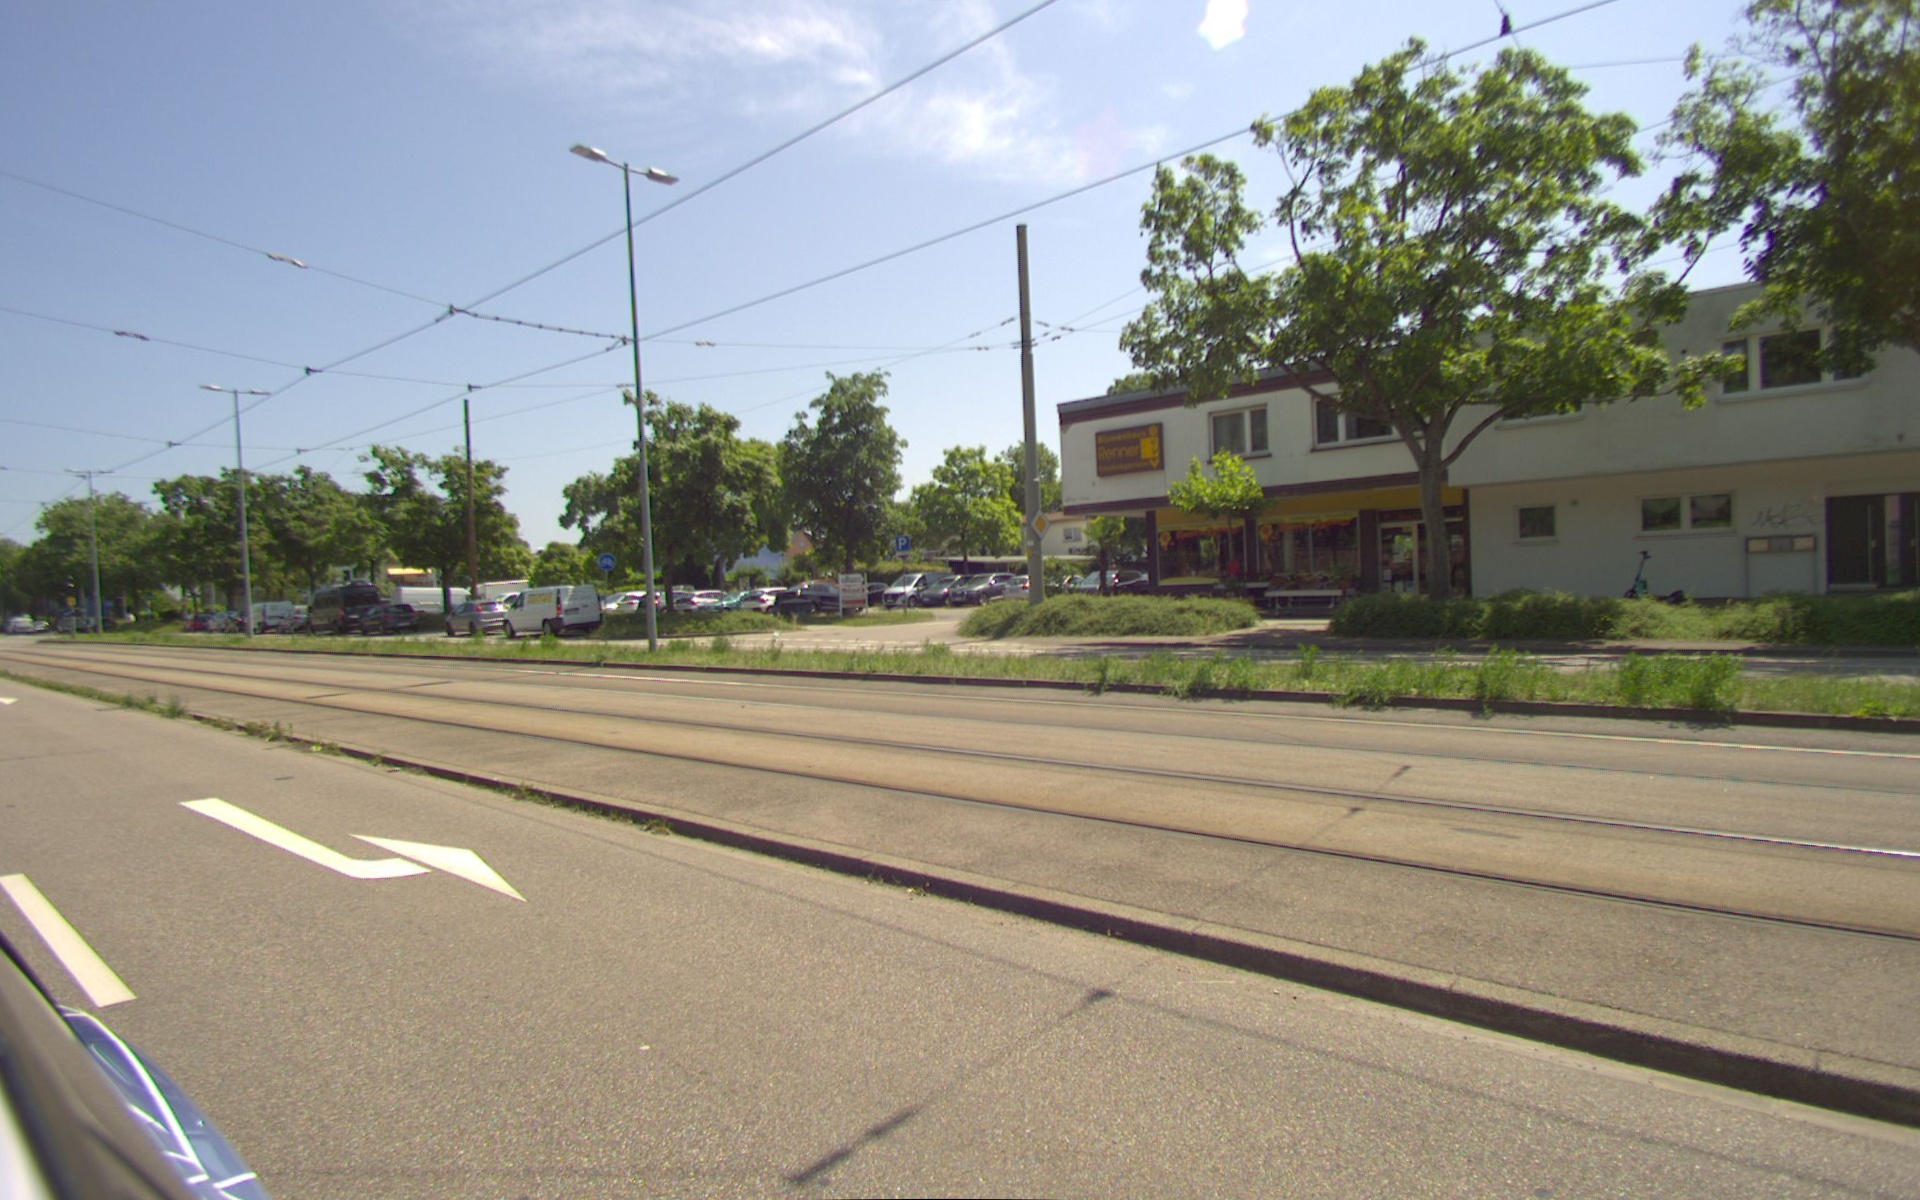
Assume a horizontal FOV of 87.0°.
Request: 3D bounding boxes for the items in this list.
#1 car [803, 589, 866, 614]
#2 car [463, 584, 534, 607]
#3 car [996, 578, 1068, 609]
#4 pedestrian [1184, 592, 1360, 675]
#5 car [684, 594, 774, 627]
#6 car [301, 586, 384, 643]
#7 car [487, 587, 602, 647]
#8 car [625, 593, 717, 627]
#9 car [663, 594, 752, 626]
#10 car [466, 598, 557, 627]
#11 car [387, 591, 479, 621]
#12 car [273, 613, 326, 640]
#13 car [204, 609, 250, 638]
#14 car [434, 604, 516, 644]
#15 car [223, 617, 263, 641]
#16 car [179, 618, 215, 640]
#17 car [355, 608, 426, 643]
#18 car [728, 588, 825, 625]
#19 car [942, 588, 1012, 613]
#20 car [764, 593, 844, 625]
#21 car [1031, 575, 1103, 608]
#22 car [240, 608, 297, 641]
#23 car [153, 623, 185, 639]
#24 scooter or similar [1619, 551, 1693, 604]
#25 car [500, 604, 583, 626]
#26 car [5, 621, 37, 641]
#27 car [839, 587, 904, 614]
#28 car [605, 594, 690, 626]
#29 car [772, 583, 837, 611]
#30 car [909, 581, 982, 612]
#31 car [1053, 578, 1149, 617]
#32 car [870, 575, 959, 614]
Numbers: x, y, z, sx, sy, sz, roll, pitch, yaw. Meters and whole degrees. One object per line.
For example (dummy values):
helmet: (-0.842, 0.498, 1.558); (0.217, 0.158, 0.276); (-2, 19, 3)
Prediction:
car: (-7.867, 0.074, 63.638); (1.712, 1.505, 3.953); (-1, 0, 35)
car: (-43.220, -0.415, 94.928); (2.145, 2.078, 5.674); (-1, 0, 38)
car: (3.826, -0.359, 53.143); (1.661, 1.531, 3.943); (-1, 0, 43)
pedestrian: (8.233, 0.830, 26.854); (3.997, 2.029, 1.973); (-1, 0, 41)
car: (-10.961, 0.480, 48.265); (1.908, 1.501, 3.995); (-1, 0, 34)
car: (-32.960, 0.749, 53.973); (5.666, 2.859, 2.214); (-1, 0, 42)
car: (-16.179, 0.653, 39.239); (5.342, 2.025, 1.856); (-1, 4, 42)
car: (-14.636, 0.488, 51.457); (2.018, 1.501, 4.117); (-2, 1, 34)
car: (-12.488, 0.469, 50.265); (1.855, 1.501, 4.099); (-1, 0, 34)
car: (-28.525, 0.781, 64.473); (1.998, 1.588, 4.866); (-2, 1, 38)
car: (-37.061, 0.425, 71.274); (2.029, 1.970, 5.363); (-1, 0, 43)
car: (-38.832, 1.527, 59.465); (3.608, 1.475, 1.744); (-1, 0, 43)
car: (-50.774, 1.633, 70.091); (4.495, 1.907, 1.614); (-1, 0, 41)
car: (-20.814, 1.015, 43.377); (4.124, 1.513, 1.633); (-1, 4, 42)
car: (-47.434, 1.882, 66.916); (3.261, 1.489, 1.410); (-1, 0, 41)
car: (-55.957, 2.109, 74.223); (3.423, 1.491, 1.561); (-1, 0, 43)
car: (-28.093, 1.225, 49.857); (3.751, 1.589, 1.950); (-1, 0, 42)
car: (-8.472, 0.287, 47.064); (1.983, 1.501, 4.120); (-2, 1, 40)
car: (0.932, 0.013, 54.132); (1.764, 1.294, 3.675); (-1, 0, 43)
car: (-6.905, 0.391, 44.933); (1.639, 1.241, 3.385); (-2, 1, 34)
car: (5.428, -0.441, 51.019); (1.520, 1.591, 3.943); (-1, 0, 43)
car: (-43.274, 1.483, 63.275); (4.816, 1.963, 1.899); (-1, 0, 43)
car: (-64.608, 2.529, 82.623); (3.423, 1.167, 1.561); (-1, 0, 43)
scooter or similar: (16.085, -0.503, 23.414); (0.448, 1.200, 1.349); (-1, 0, -29)
car: (-25.282, 0.901, 61.285); (2.030, 1.152, 4.210); (-2, 1, 37)
car: (-96.675, 3.154, 104.167); (4.208, 2.005, 1.799); (-1, 0, 38)
car: (-5.320, 0.006, 61.227); (1.683, 1.597, 3.948); (-1, 0, 39)
car: (-16.504, 0.519, 53.631); (1.827, 1.501, 4.030); (-2, 1, 34)
car: (-9.913, -0.208, 64.760); (1.689, 1.665, 4.081); (-2, 0, 35)
car: (-0.789, -0.226, 56.290); (1.804, 1.669, 3.943); (-1, 0, 43)
car: (5.455, -0.120, 38.877); (1.682, 1.306, 3.944); (-3, 1, 43)
car: (-2.566, -0.327, 57.943); (2.225, 2.085, 5.055); (-1, 0, 41)
